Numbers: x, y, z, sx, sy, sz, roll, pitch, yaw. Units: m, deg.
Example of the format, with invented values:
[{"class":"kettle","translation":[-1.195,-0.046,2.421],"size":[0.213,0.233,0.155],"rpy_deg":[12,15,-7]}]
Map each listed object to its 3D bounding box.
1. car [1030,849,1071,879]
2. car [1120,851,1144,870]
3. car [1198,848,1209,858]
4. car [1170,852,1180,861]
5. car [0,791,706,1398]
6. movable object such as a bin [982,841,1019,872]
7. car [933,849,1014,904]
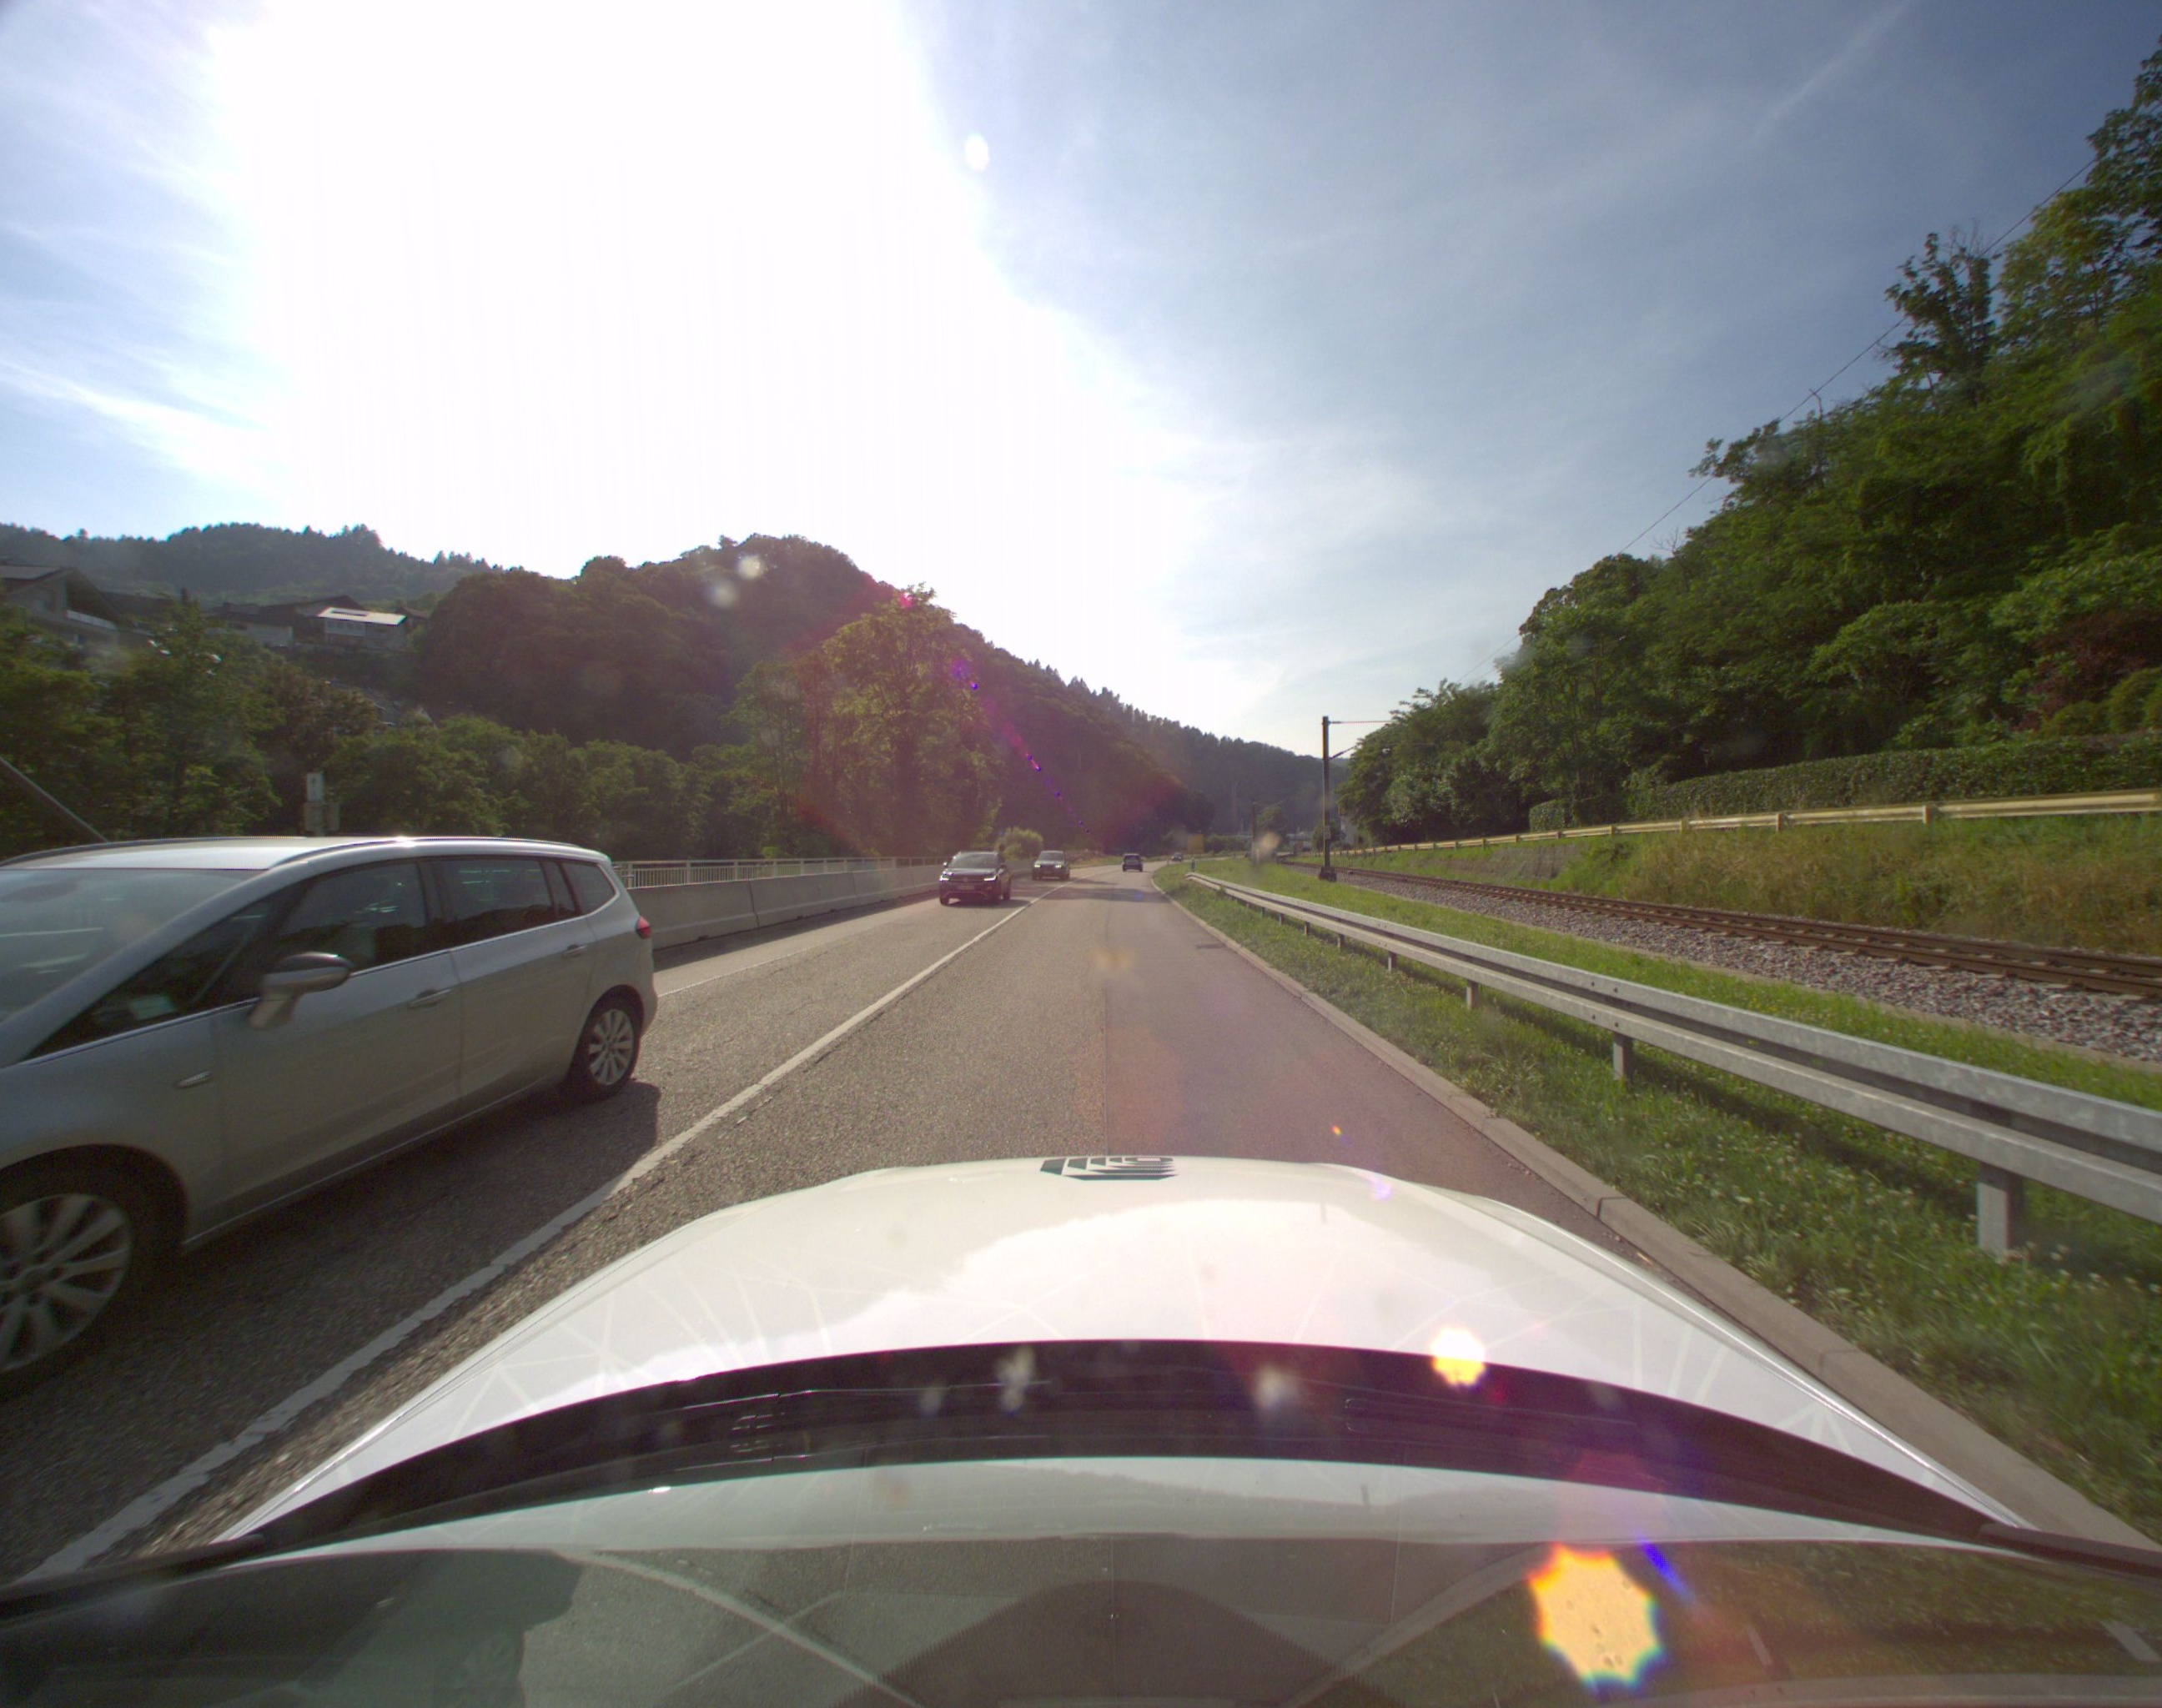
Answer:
[{"class":"car","translation":[-1.699,0.538,46.954],"size":[1.985,1.629,4.510],"rpy_deg":[0,0,3]},{"class":"car","translation":[4.736,0.592,75.849],"size":[1.983,1.723,3.997],"rpy_deg":[-2,0,6]},{"class":"car","translation":[24.074,-0.215,160.244],"size":[1.981,2.013,4.011],"rpy_deg":[-3,0,10]},{"class":"car","translation":[18.980,0.493,164.462],"size":[1.840,1.784,4.696],"rpy_deg":[1,0,9]},{"class":"car","translation":[-3.812,0.679,3.802],"size":[1.766,1.670,4.650],"rpy_deg":[-2,0,2]},{"class":"movable object such as a bin","translation":[-10.708,0.348,109.692],"size":[2.685,3.947,10.008],"rpy_deg":[-2,0,7]},{"class":"car","translation":[-3.223,0.613,25.239],"size":[1.792,1.556,4.333],"rpy_deg":[0,0,2]}]
